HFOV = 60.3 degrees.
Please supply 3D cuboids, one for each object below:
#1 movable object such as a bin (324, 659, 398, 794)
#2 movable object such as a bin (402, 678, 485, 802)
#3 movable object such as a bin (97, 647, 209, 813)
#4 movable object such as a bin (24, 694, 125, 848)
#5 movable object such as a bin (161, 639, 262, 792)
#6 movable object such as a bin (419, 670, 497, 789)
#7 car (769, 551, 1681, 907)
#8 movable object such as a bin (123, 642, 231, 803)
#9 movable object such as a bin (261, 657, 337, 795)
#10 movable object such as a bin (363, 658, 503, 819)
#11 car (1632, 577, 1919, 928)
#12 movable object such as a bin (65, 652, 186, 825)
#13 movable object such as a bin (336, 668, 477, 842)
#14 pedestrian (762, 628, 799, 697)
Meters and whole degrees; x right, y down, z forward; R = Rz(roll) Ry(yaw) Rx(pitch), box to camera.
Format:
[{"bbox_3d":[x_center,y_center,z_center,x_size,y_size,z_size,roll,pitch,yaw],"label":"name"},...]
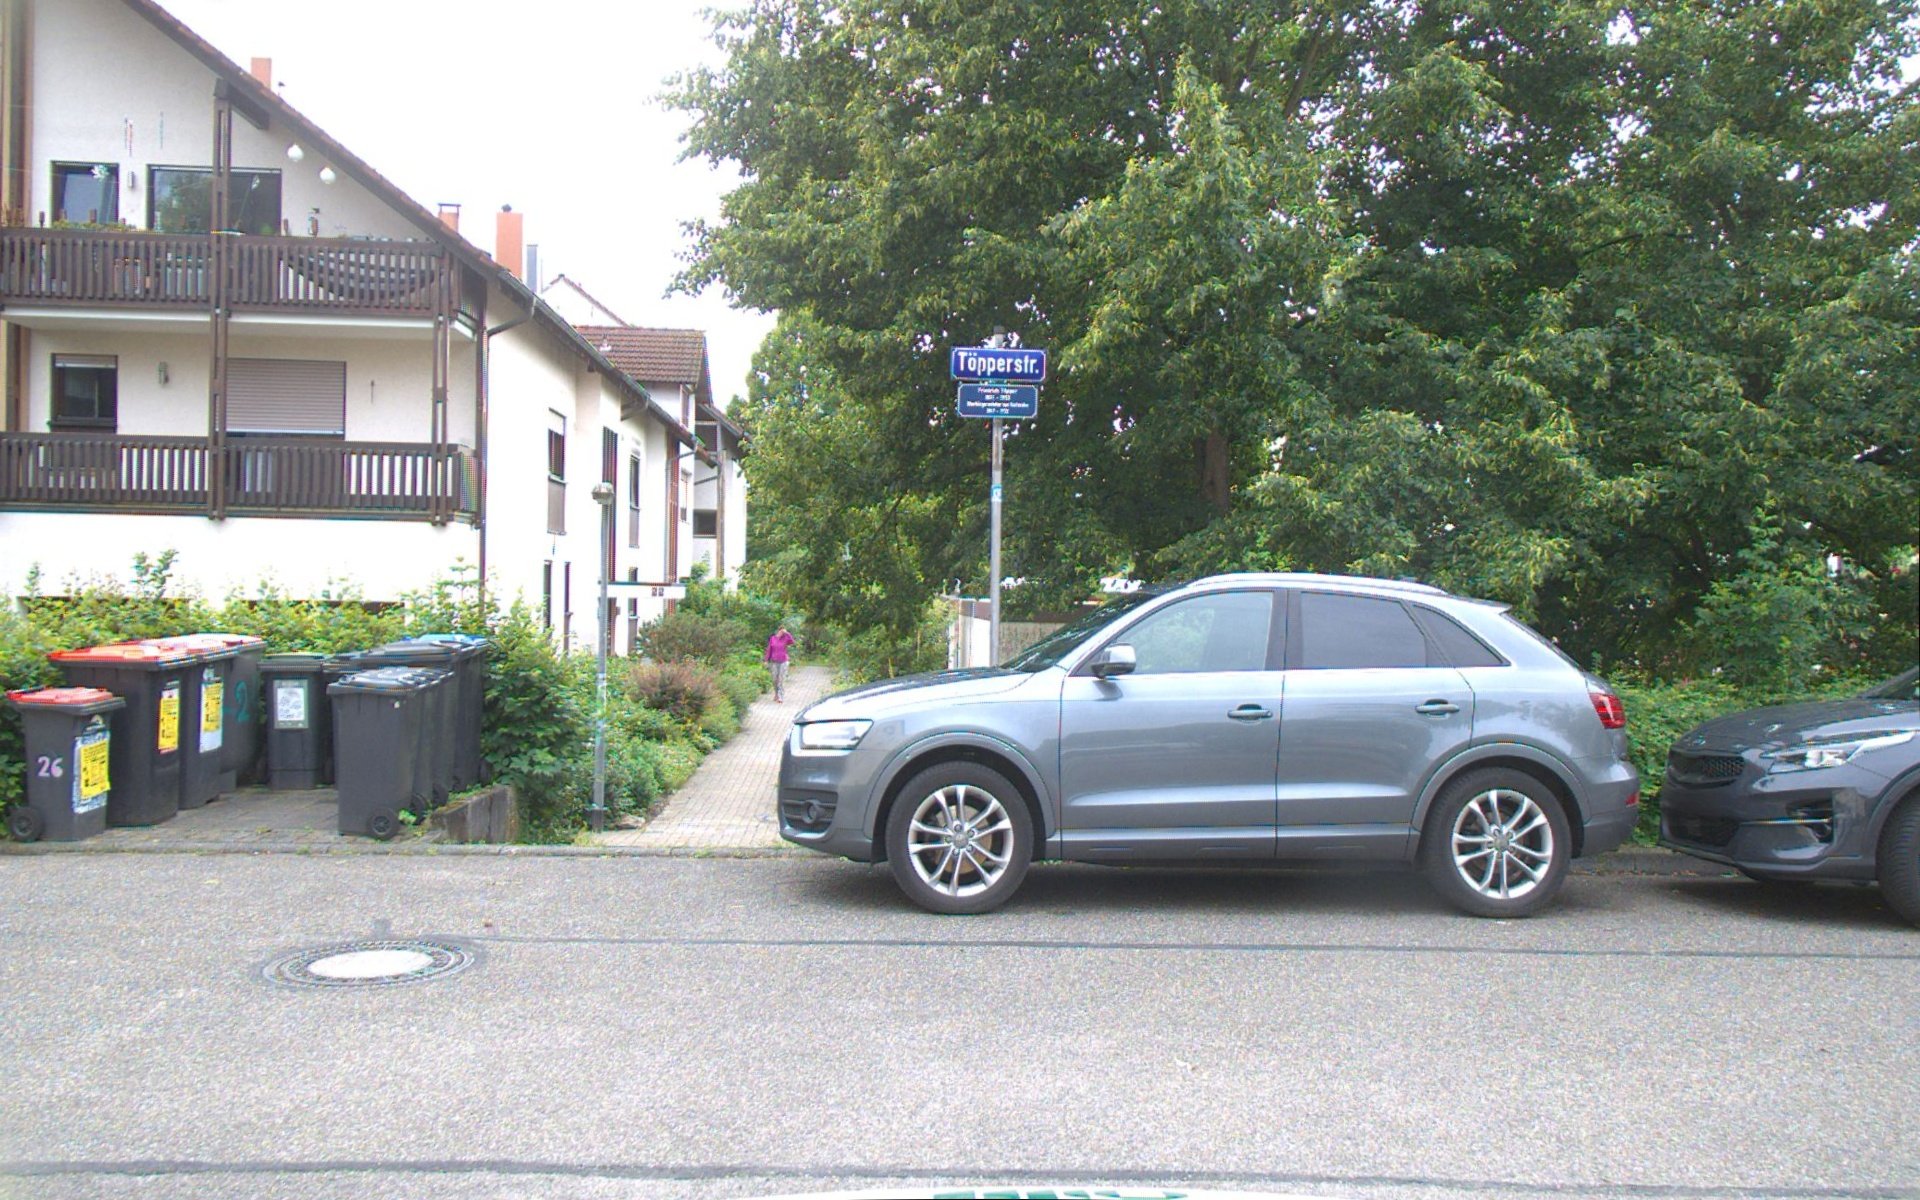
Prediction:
[{"bbox_3d":[-4.169,0.874,11.520,0.378,0.905,0.379,2,0,-6],"label":"movable object such as a bin"},{"bbox_3d":[-3.572,0.966,11.449,0.450,0.811,0.379,2,0,-4],"label":"movable object such as a bin"},{"bbox_3d":[-5.091,0.815,10.446,0.527,1.011,0.337,2,0,-6],"label":"movable object such as a bin"},{"bbox_3d":[-5.164,0.990,9.658,0.378,0.851,0.379,2,0,-6],"label":"movable object such as a bin"},{"bbox_3d":[-5.136,0.789,11.367,0.527,1.011,0.337,2,0,-6],"label":"movable object such as a bin"},{"bbox_3d":[-3.598,0.921,11.874,0.450,0.811,0.379,2,0,-6],"label":"movable object such as a bin"},{"bbox_3d":[1.185,0.614,8.304,4.153,1.558,1.746,1,-1,-4],"label":"car"},{"bbox_3d":[-5.104,0.795,10.798,0.527,1.011,0.337,2,0,-6],"label":"movable object such as a bin"},{"bbox_3d":[-4.584,0.869,11.485,0.378,0.917,0.379,2,0,-6],"label":"movable object such as a bin"},{"bbox_3d":[-3.409,0.887,10.731,0.719,0.970,0.584,2,0,-4],"label":"movable object such as a bin"},{"bbox_3d":[5.749,0.725,8.253,4.095,1.558,1.747,1,-1,1],"label":"car"},{"bbox_3d":[-5.073,0.836,10.071,0.527,1.011,0.379,2,0,-6],"label":"movable object such as a bin"},{"bbox_3d":[-3.338,0.921,10.019,0.626,0.970,0.722,2,0,-5],"label":"movable object such as a bin"},{"bbox_3d":[-4.027,1.395,37.070,0.799,1.544,0.438,0,0,-6],"label":"pedestrian"}]
